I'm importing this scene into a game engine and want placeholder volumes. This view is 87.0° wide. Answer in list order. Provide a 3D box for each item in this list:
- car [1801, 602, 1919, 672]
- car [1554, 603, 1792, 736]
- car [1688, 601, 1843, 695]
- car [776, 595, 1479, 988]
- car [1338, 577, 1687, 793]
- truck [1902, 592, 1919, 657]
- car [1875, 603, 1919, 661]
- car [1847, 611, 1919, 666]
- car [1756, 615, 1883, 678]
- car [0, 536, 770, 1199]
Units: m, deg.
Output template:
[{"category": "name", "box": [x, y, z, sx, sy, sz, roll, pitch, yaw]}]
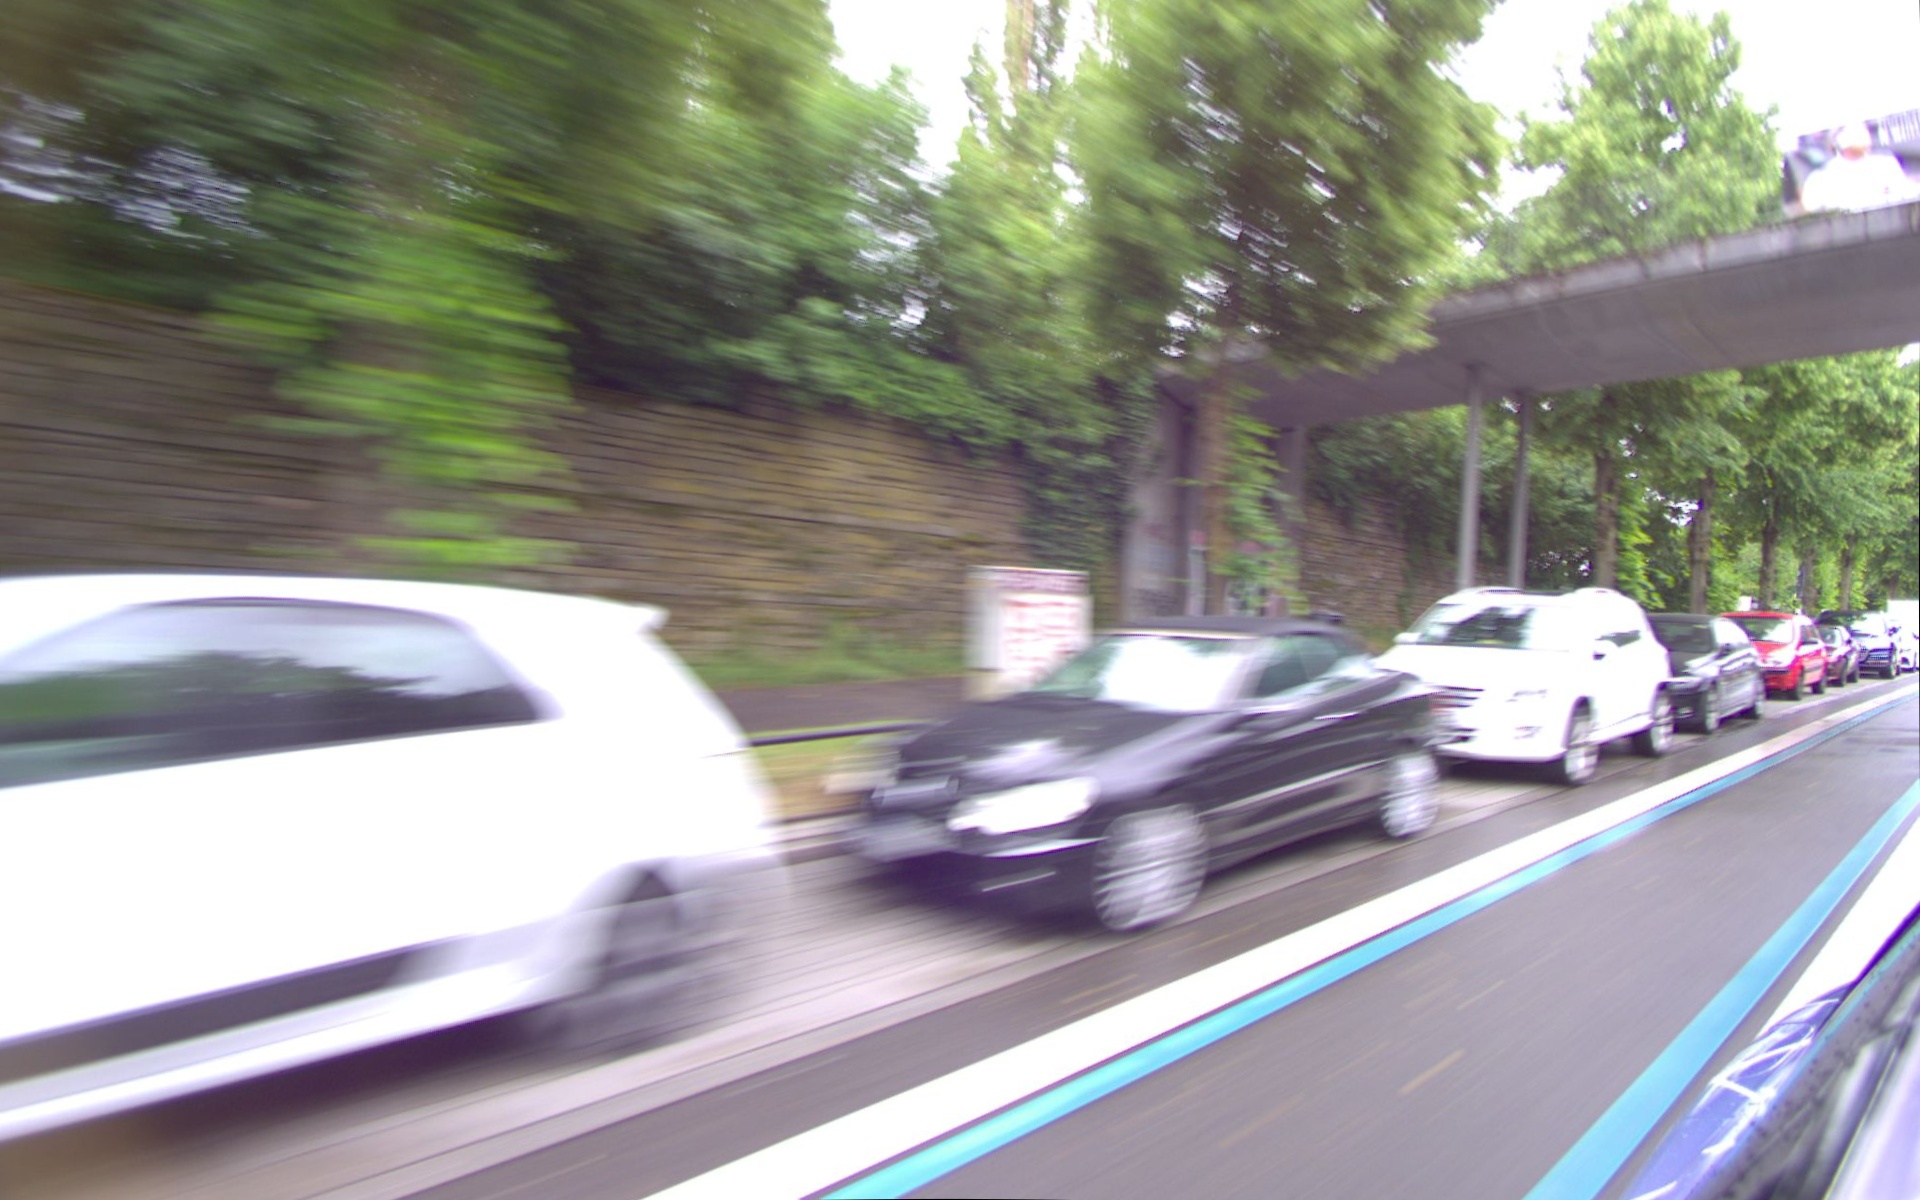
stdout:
[{"category": "car", "box": [23.143, 0.922, 25.931, 4.566, 1.580, 1.995, 2, -1, -45]}, {"category": "car", "box": [9.633, 0.791, 13.531, 4.374, 1.411, 1.675, -1, 1, -42]}, {"category": "car", "box": [14.475, 0.852, 18.128, 3.561, 1.485, 1.561, 3, -1, -41]}, {"category": "car", "box": [1.292, 0.725, 6.021, 4.481, 1.393, 1.721, -2, 2, -42]}, {"category": "car", "box": [5.470, 0.635, 9.772, 4.189, 1.639, 1.715, 0, 1, -43]}, {"category": "truck", "box": [36.548, 0.956, 37.733, 3.930, 2.363, 1.721, 2, -1, -42]}, {"category": "car", "box": [32.310, 1.098, 34.116, 4.269, 1.813, 1.725, 2, -1, -42]}, {"category": "car", "box": [27.307, 1.131, 29.434, 4.536, 1.444, 1.663, 2, -1, -41]}, {"category": "car", "box": [18.852, 0.992, 22.130, 4.111, 1.205, 1.628, 2, -1, -43]}, {"category": "car", "box": [-2.586, 0.630, 2.973, 3.676, 1.554, 1.664, 0, 0, -41]}]
